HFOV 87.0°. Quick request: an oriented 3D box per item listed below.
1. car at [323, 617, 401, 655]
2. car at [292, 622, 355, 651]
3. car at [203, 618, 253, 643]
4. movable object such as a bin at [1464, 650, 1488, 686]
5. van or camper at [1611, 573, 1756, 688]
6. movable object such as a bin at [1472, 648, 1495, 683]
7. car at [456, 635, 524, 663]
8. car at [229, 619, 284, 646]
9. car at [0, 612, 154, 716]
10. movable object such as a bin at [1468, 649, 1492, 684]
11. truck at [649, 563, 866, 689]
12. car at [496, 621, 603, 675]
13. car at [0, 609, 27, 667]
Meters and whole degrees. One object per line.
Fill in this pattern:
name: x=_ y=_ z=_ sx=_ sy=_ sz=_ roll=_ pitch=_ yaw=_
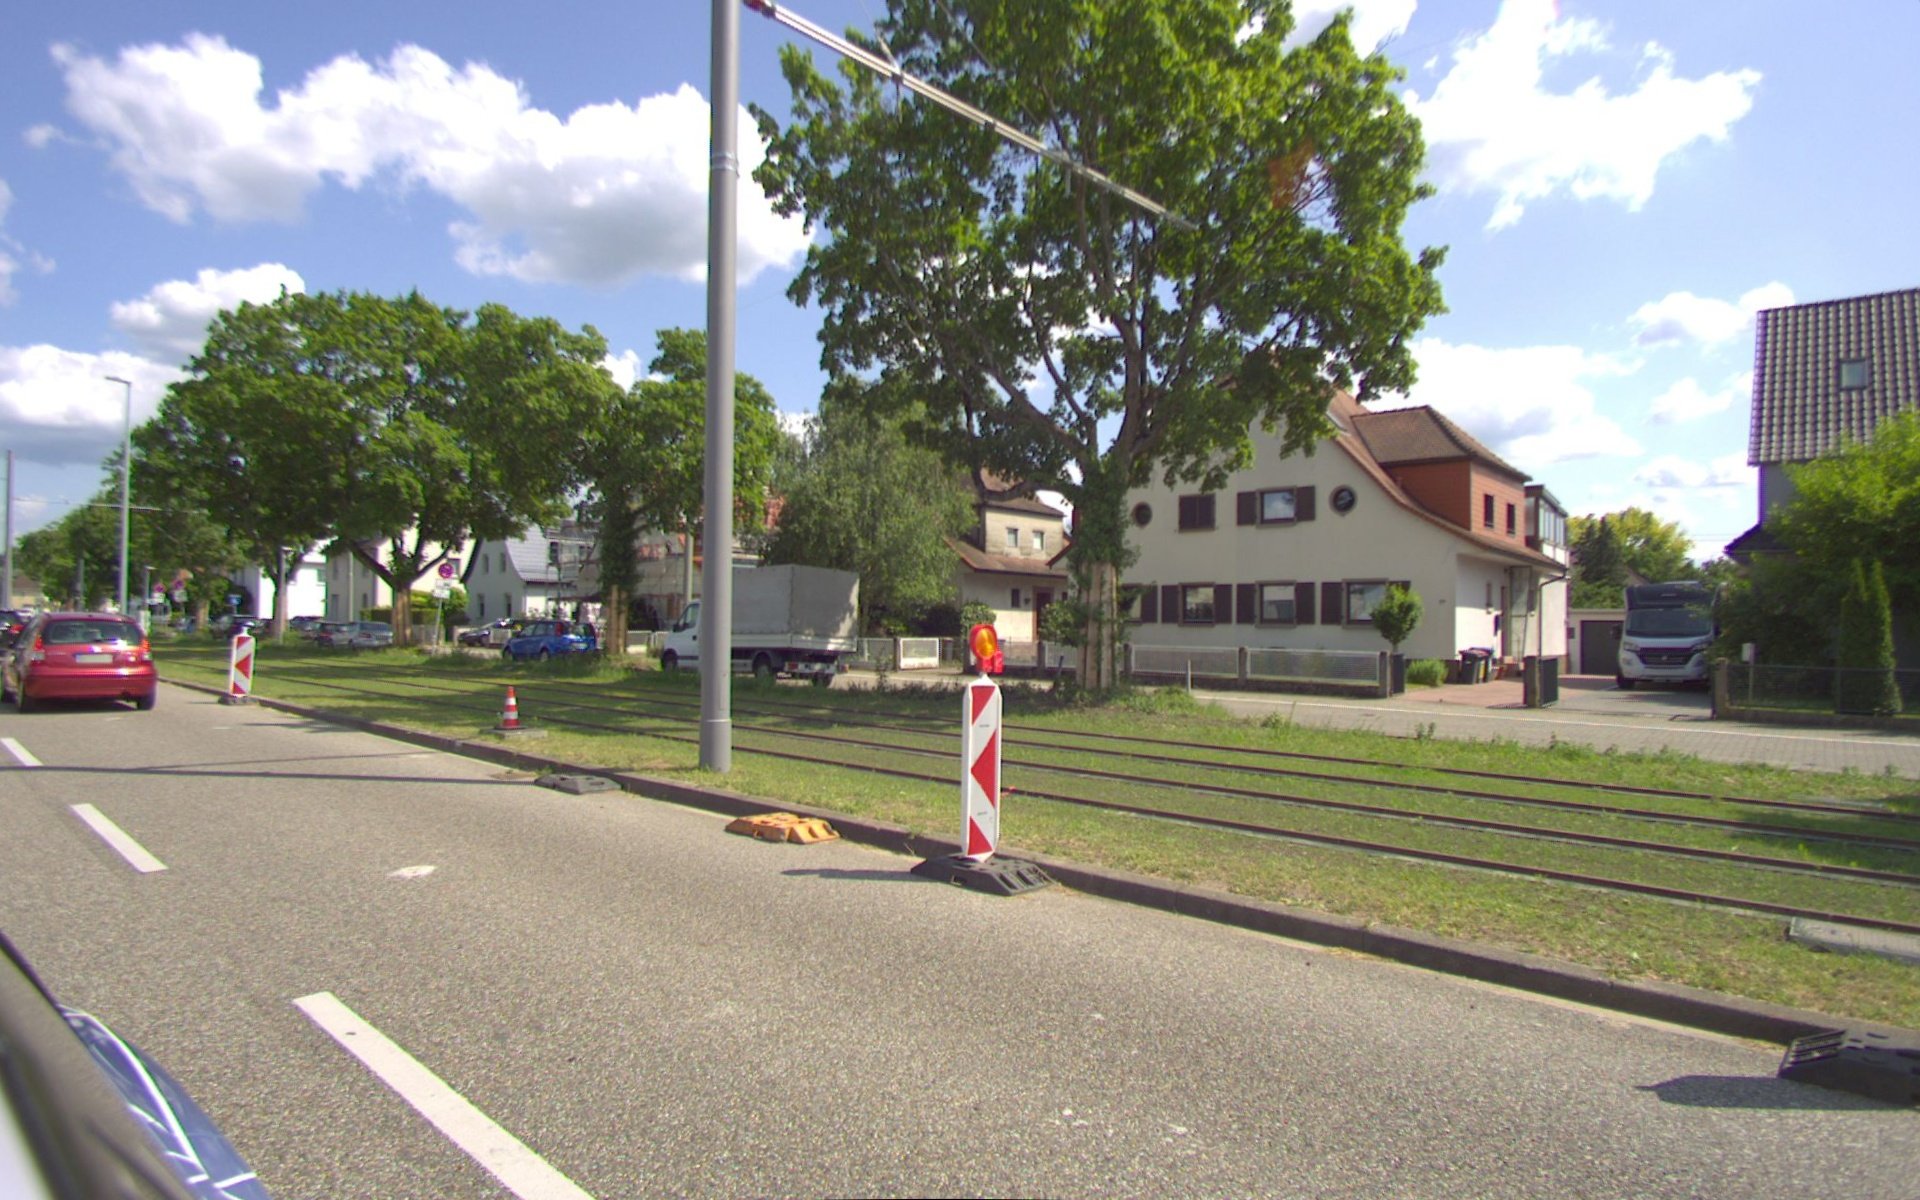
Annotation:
car: x=-26.343 y=1.535 z=44.508 sx=4.523 sy=1.524 sz=1.685 roll=0 pitch=0 yaw=42
car: x=-30.489 y=1.706 z=48.448 sx=3.787 sy=1.251 sz=1.603 roll=0 pitch=0 yaw=42
car: x=-42.622 y=1.747 z=58.882 sx=4.000 sy=1.311 sz=1.615 roll=0 pitch=0 yaw=42
movable object such as a bin: x=13.317 y=1.745 z=26.108 sx=0.458 sy=0.874 sz=0.469 roll=0 pitch=0 yaw=41
van or camper: x=19.080 y=0.674 z=26.539 sx=2.499 sy=2.652 sz=6.267 roll=0 pitch=0 yaw=41
movable object such as a bin: x=13.884 y=1.737 z=26.847 sx=0.458 sy=0.874 sz=0.469 roll=0 pitch=0 yaw=41
car: x=-25.421 y=2.621 z=54.780 sx=3.190 sy=1.393 sz=1.492 roll=0 pitch=0 yaw=-18
car: x=-38.156 y=1.751 z=54.878 sx=4.000 sy=1.311 sz=1.615 roll=0 pitch=0 yaw=42
car: x=-14.331 y=0.961 z=16.258 sx=3.720 sy=1.480 sz=1.561 roll=-1 pitch=-2 yaw=42
movable object such as a bin: x=13.603 y=1.741 z=26.480 sx=0.458 sy=0.874 sz=0.469 roll=0 pitch=0 yaw=41
truck: x=-5.259 y=0.577 z=25.657 sx=5.950 sy=2.826 sz=2.339 roll=0 pitch=0 yaw=43
car: x=-13.250 y=1.501 z=32.551 sx=3.930 sy=1.524 sz=1.650 roll=0 pitch=0 yaw=42
car: x=-29.852 y=1.127 z=30.732 sx=4.219 sy=1.703 sz=1.777 roll=-1 pitch=-3 yaw=42
